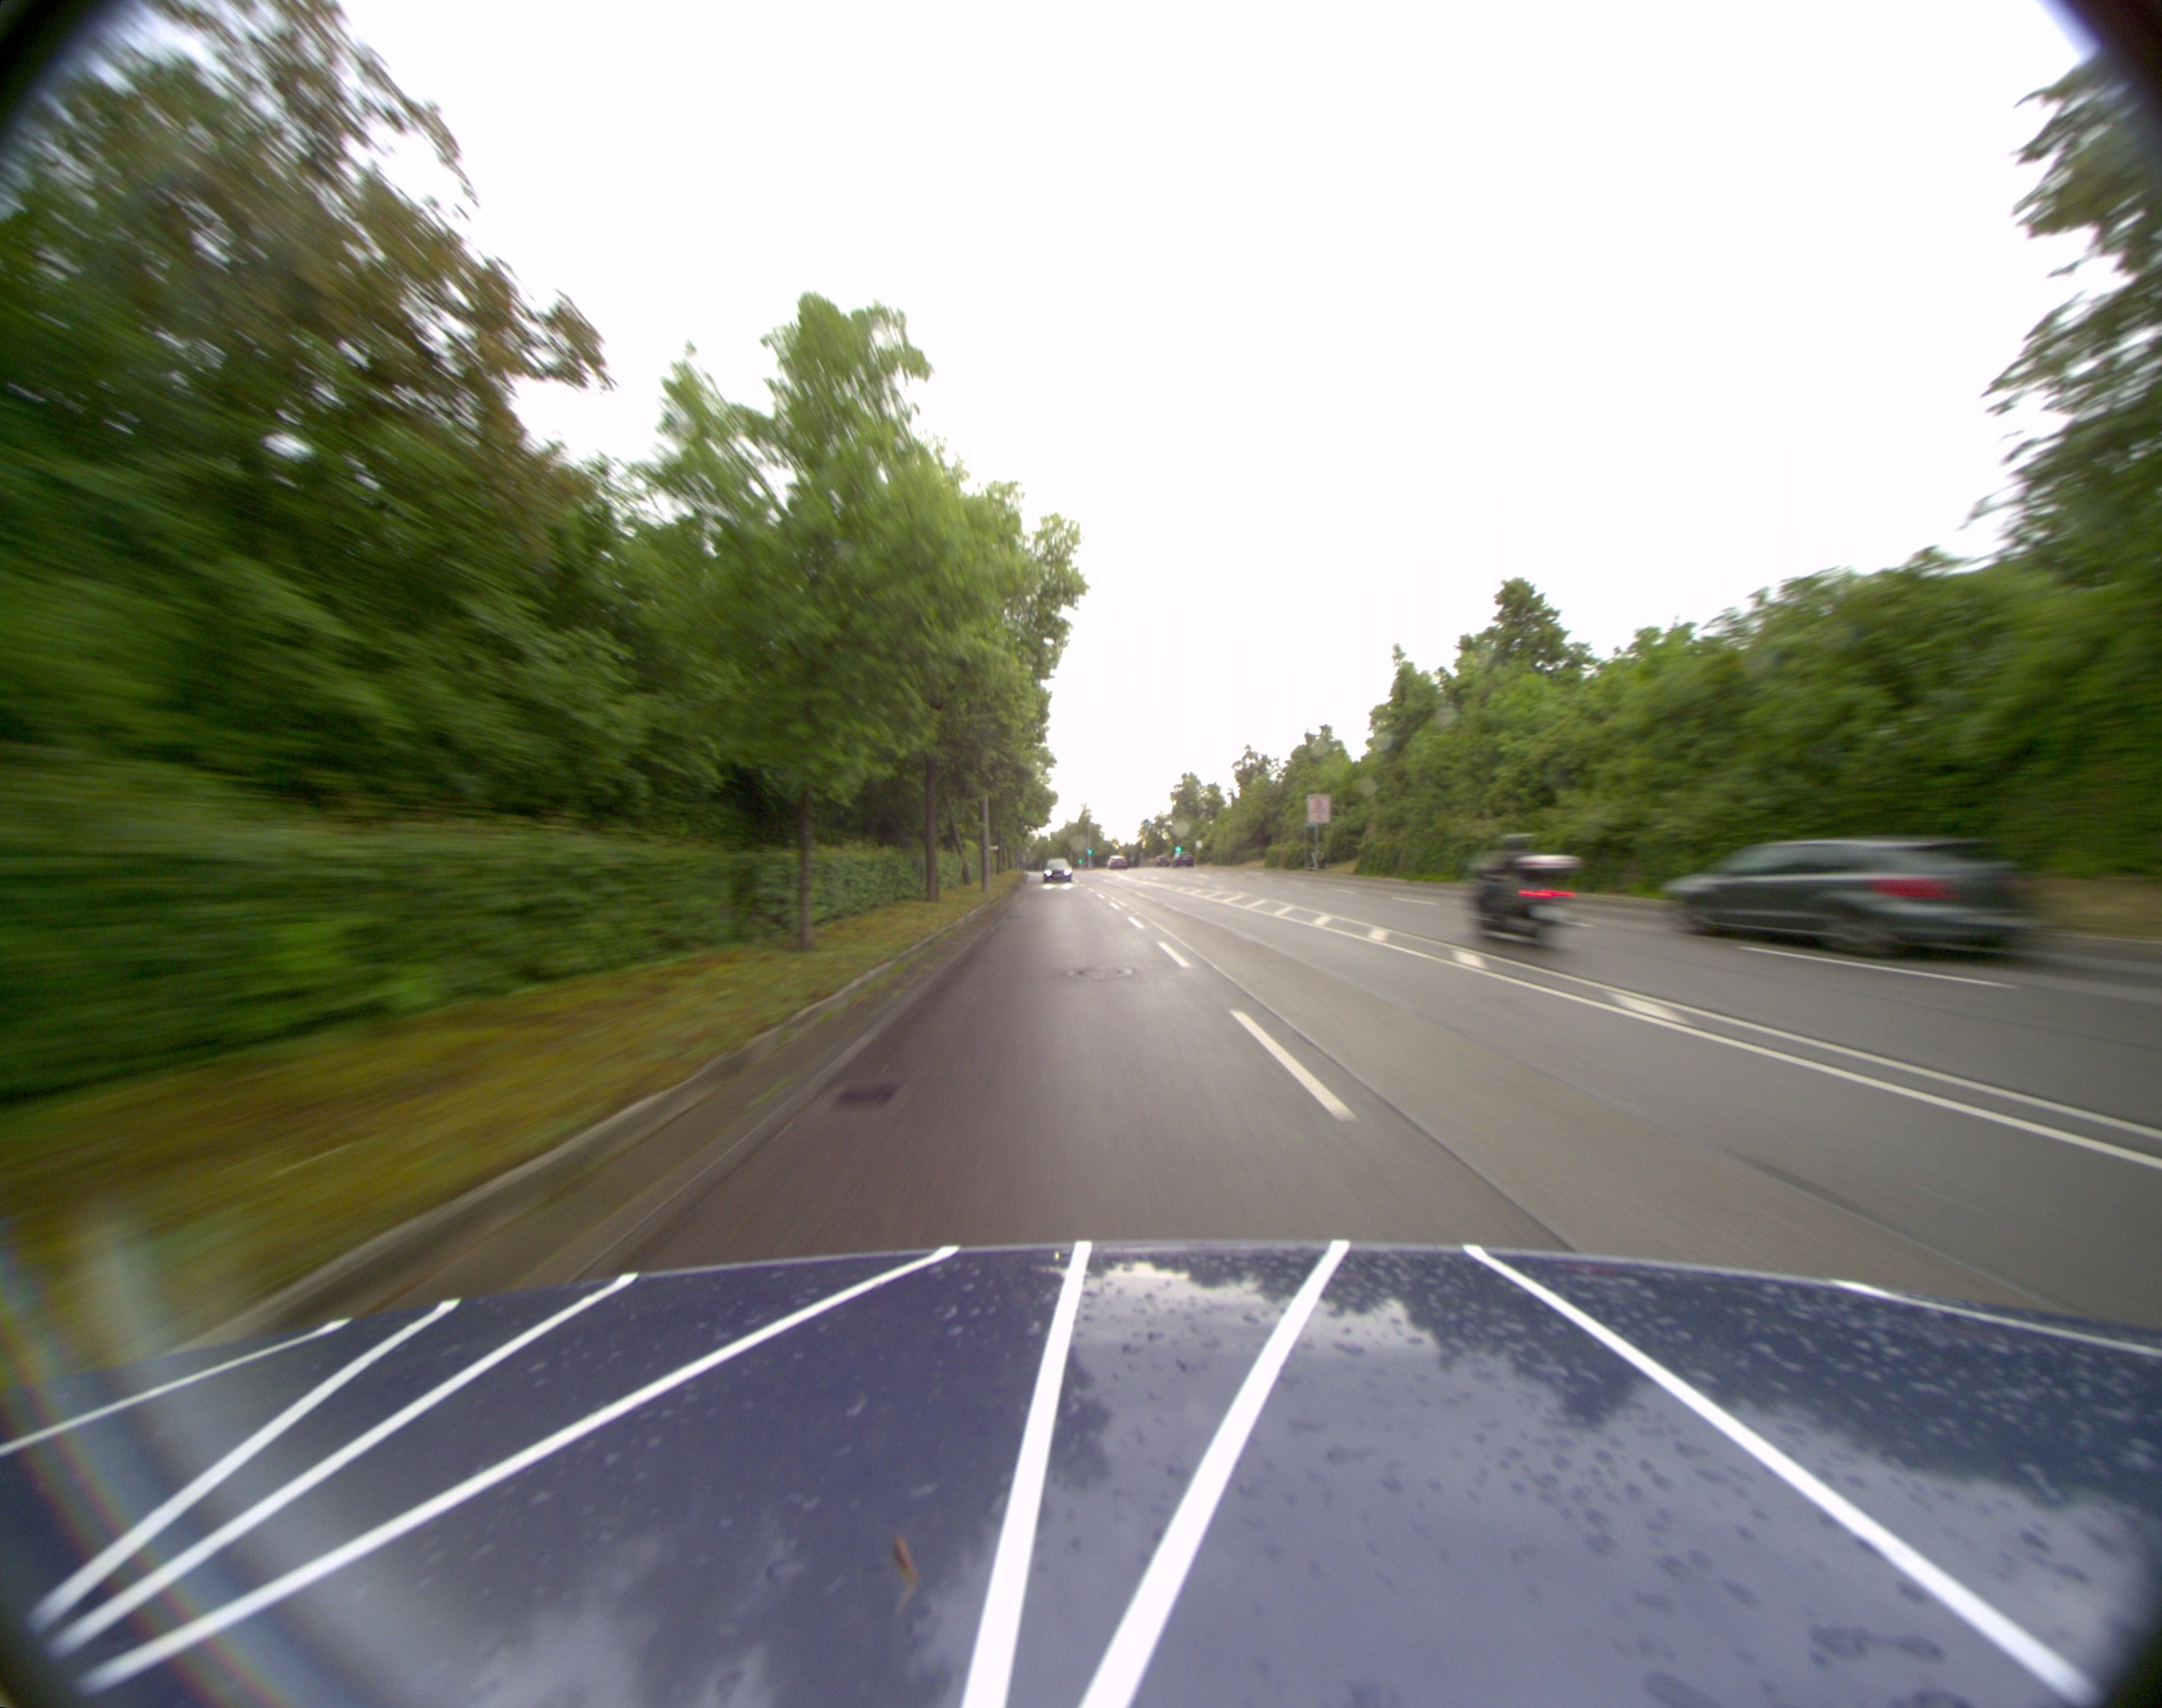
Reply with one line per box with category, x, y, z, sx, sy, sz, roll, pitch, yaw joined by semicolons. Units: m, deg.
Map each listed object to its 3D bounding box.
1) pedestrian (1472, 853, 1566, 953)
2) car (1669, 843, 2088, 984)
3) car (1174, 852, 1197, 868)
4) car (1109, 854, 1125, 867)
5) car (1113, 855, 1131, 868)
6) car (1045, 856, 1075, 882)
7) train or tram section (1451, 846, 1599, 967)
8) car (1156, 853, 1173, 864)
pedestrian;6.458;0.695;11.249;0.793;1.375;0.974;-3;0;1
car;9.717;0.609;9.743;1.552;1.428;3.696;-2;0;2
car;11.090;0.604;81.161;1.804;1.597;4.428;-2;0;0
car;4.706;0.816;99.634;1.891;1.646;4.450;-2;0;0
car;4.771;0.848;88.728;1.781;1.459;3.997;-2;0;0
car;-1.314;0.945;49.020;1.738;1.577;4.286;-2;0;0
train or tram section;6.455;0.695;11.250;0.793;1.561;2.384;-3;0;1
car;10.909;0.593;99.811;1.679;1.459;3.861;-2;0;-1
